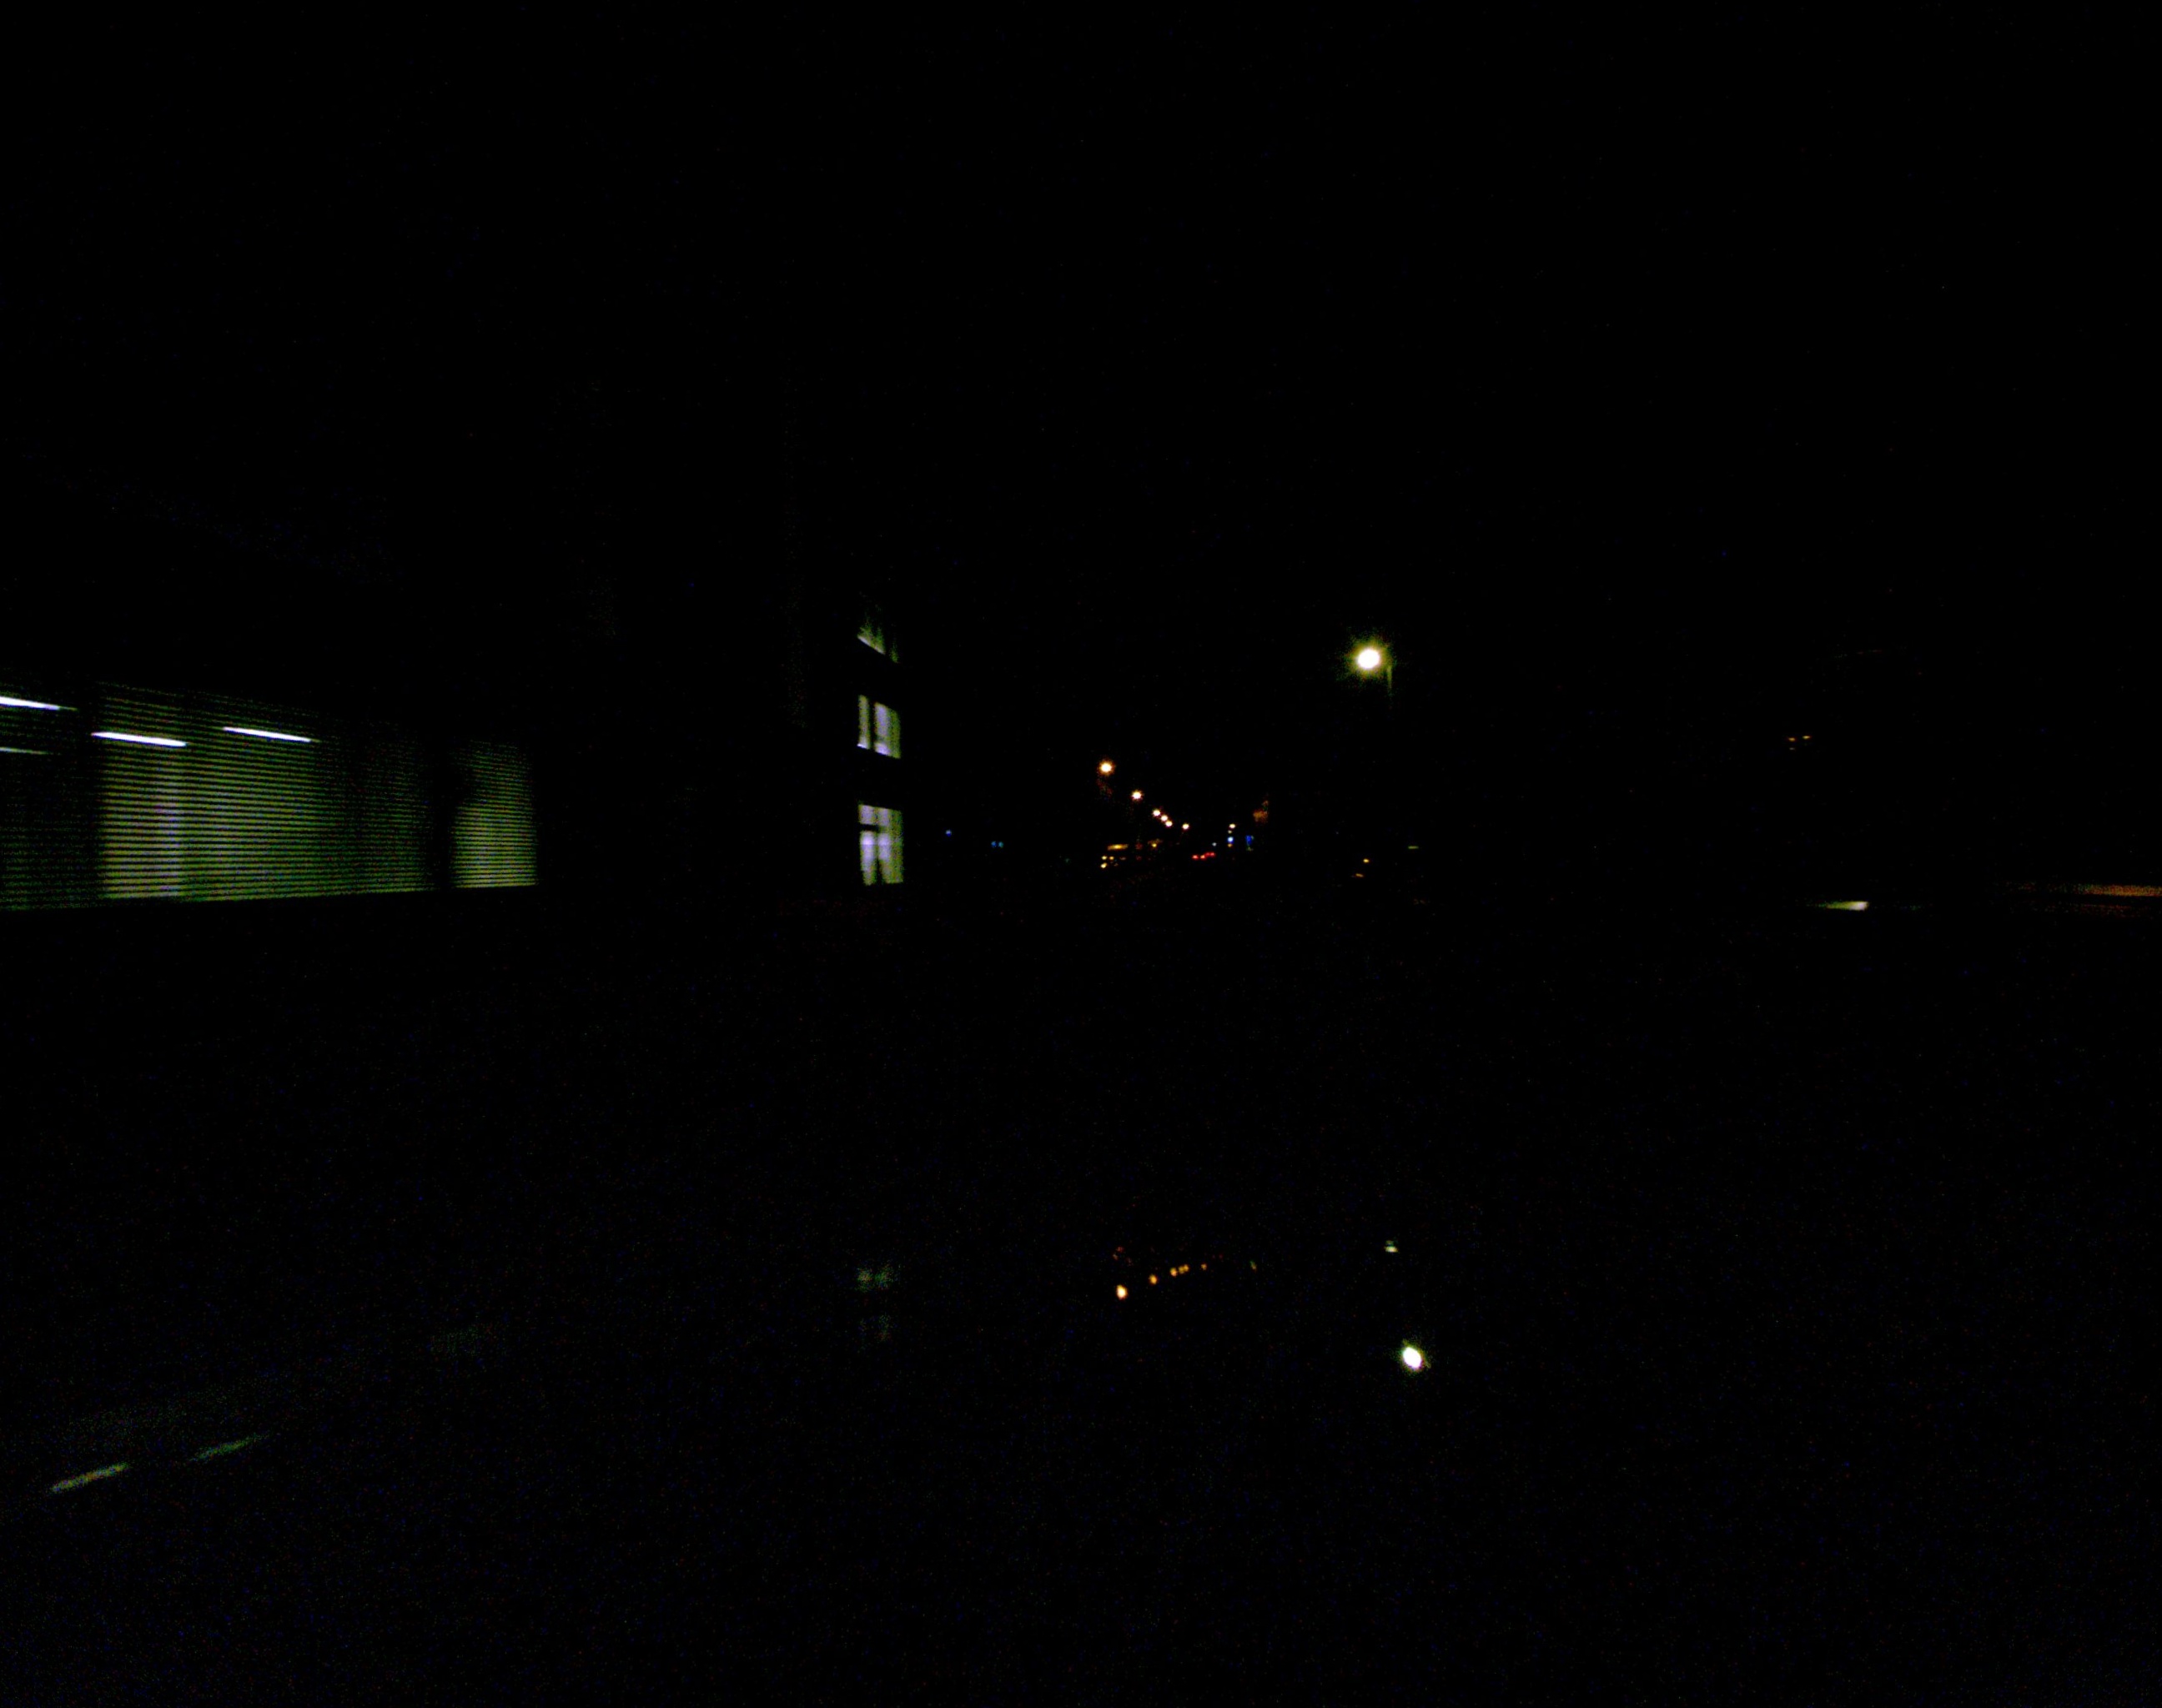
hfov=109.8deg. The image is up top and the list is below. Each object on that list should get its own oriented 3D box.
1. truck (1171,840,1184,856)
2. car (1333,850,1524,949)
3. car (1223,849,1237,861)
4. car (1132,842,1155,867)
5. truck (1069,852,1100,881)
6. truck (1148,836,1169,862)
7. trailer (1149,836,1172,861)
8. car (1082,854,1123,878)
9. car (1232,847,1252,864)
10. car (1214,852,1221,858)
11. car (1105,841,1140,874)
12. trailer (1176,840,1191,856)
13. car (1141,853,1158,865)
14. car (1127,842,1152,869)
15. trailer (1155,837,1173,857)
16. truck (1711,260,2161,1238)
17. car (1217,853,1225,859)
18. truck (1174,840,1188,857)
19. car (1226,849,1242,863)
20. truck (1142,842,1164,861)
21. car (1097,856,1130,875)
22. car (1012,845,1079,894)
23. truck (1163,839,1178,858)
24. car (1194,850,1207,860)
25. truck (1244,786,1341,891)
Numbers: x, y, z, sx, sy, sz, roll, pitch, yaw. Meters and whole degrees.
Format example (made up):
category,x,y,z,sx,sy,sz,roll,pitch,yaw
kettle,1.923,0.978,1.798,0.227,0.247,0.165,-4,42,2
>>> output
category,x,y,z,sx,sy,sz,roll,pitch,yaw
truck,25.906,-1.454,203.700,2.658,3.850,10.240,-3,-2,10
car,6.891,0.785,15.785,1.948,1.707,5.200,-1,0,5
car,21.816,0.125,111.191,1.807,1.788,4.881,-1,0,10
car,7.125,0.052,86.142,1.997,2.556,6.018,-4,0,9
truck,0.235,0.733,46.495,1.373,1.635,3.814,-1,0,8
truck,11.996,-0.819,117.562,2.770,3.742,5.231,-3,0,10
trailer,13.066,-0.916,123.961,2.770,3.741,14.665,-3,0,10
car,1.568,0.803,52.403,1.949,1.480,5.015,-1,0,12
car,18.080,0.113,85.593,1.817,1.838,4.417,-1,0,8
car,32.720,0.189,182.028,1.689,1.357,3.882,-3,0,10
car,3.639,0.267,65.280,1.997,2.511,5.914,-4,0,12
trailer,29.910,-1.730,221.089,3.070,4.449,13.423,-3,0,13
car,9.129,0.685,100.769,1.833,1.399,4.912,-4,0,9
car,6.147,0.167,79.221,2.132,2.556,5.912,-4,0,6
trailer,15.692,-1.293,143.226,2.883,3.504,8.289,-1,0,10
truck,5.845,-0.440,0.845,2.779,4.096,9.342,-1,0,2
car,30.168,0.434,163.601,1.759,1.382,4.312,-1,0,11
truck,28.347,-1.623,214.531,3.070,4.449,5.639,-3,0,13
car,20.293,0.257,100.619,1.950,1.678,4.820,-1,0,11
truck,10.274,-0.371,107.411,2.405,2.579,6.602,-2,0,11
car,2.571,0.857,58.951,1.772,1.404,4.554,-1,0,12
car,-1.464,0.647,33.804,1.997,2.002,4.915,-1,0,9
truck,20.201,-1.190,171.294,2.796,3.946,9.828,-3,-1,9
car,18.878,0.181,120.308,1.861,1.412,4.002,-1,0,8
truck,9.258,-0.608,34.357,2.751,4.010,9.565,-2,0,7
